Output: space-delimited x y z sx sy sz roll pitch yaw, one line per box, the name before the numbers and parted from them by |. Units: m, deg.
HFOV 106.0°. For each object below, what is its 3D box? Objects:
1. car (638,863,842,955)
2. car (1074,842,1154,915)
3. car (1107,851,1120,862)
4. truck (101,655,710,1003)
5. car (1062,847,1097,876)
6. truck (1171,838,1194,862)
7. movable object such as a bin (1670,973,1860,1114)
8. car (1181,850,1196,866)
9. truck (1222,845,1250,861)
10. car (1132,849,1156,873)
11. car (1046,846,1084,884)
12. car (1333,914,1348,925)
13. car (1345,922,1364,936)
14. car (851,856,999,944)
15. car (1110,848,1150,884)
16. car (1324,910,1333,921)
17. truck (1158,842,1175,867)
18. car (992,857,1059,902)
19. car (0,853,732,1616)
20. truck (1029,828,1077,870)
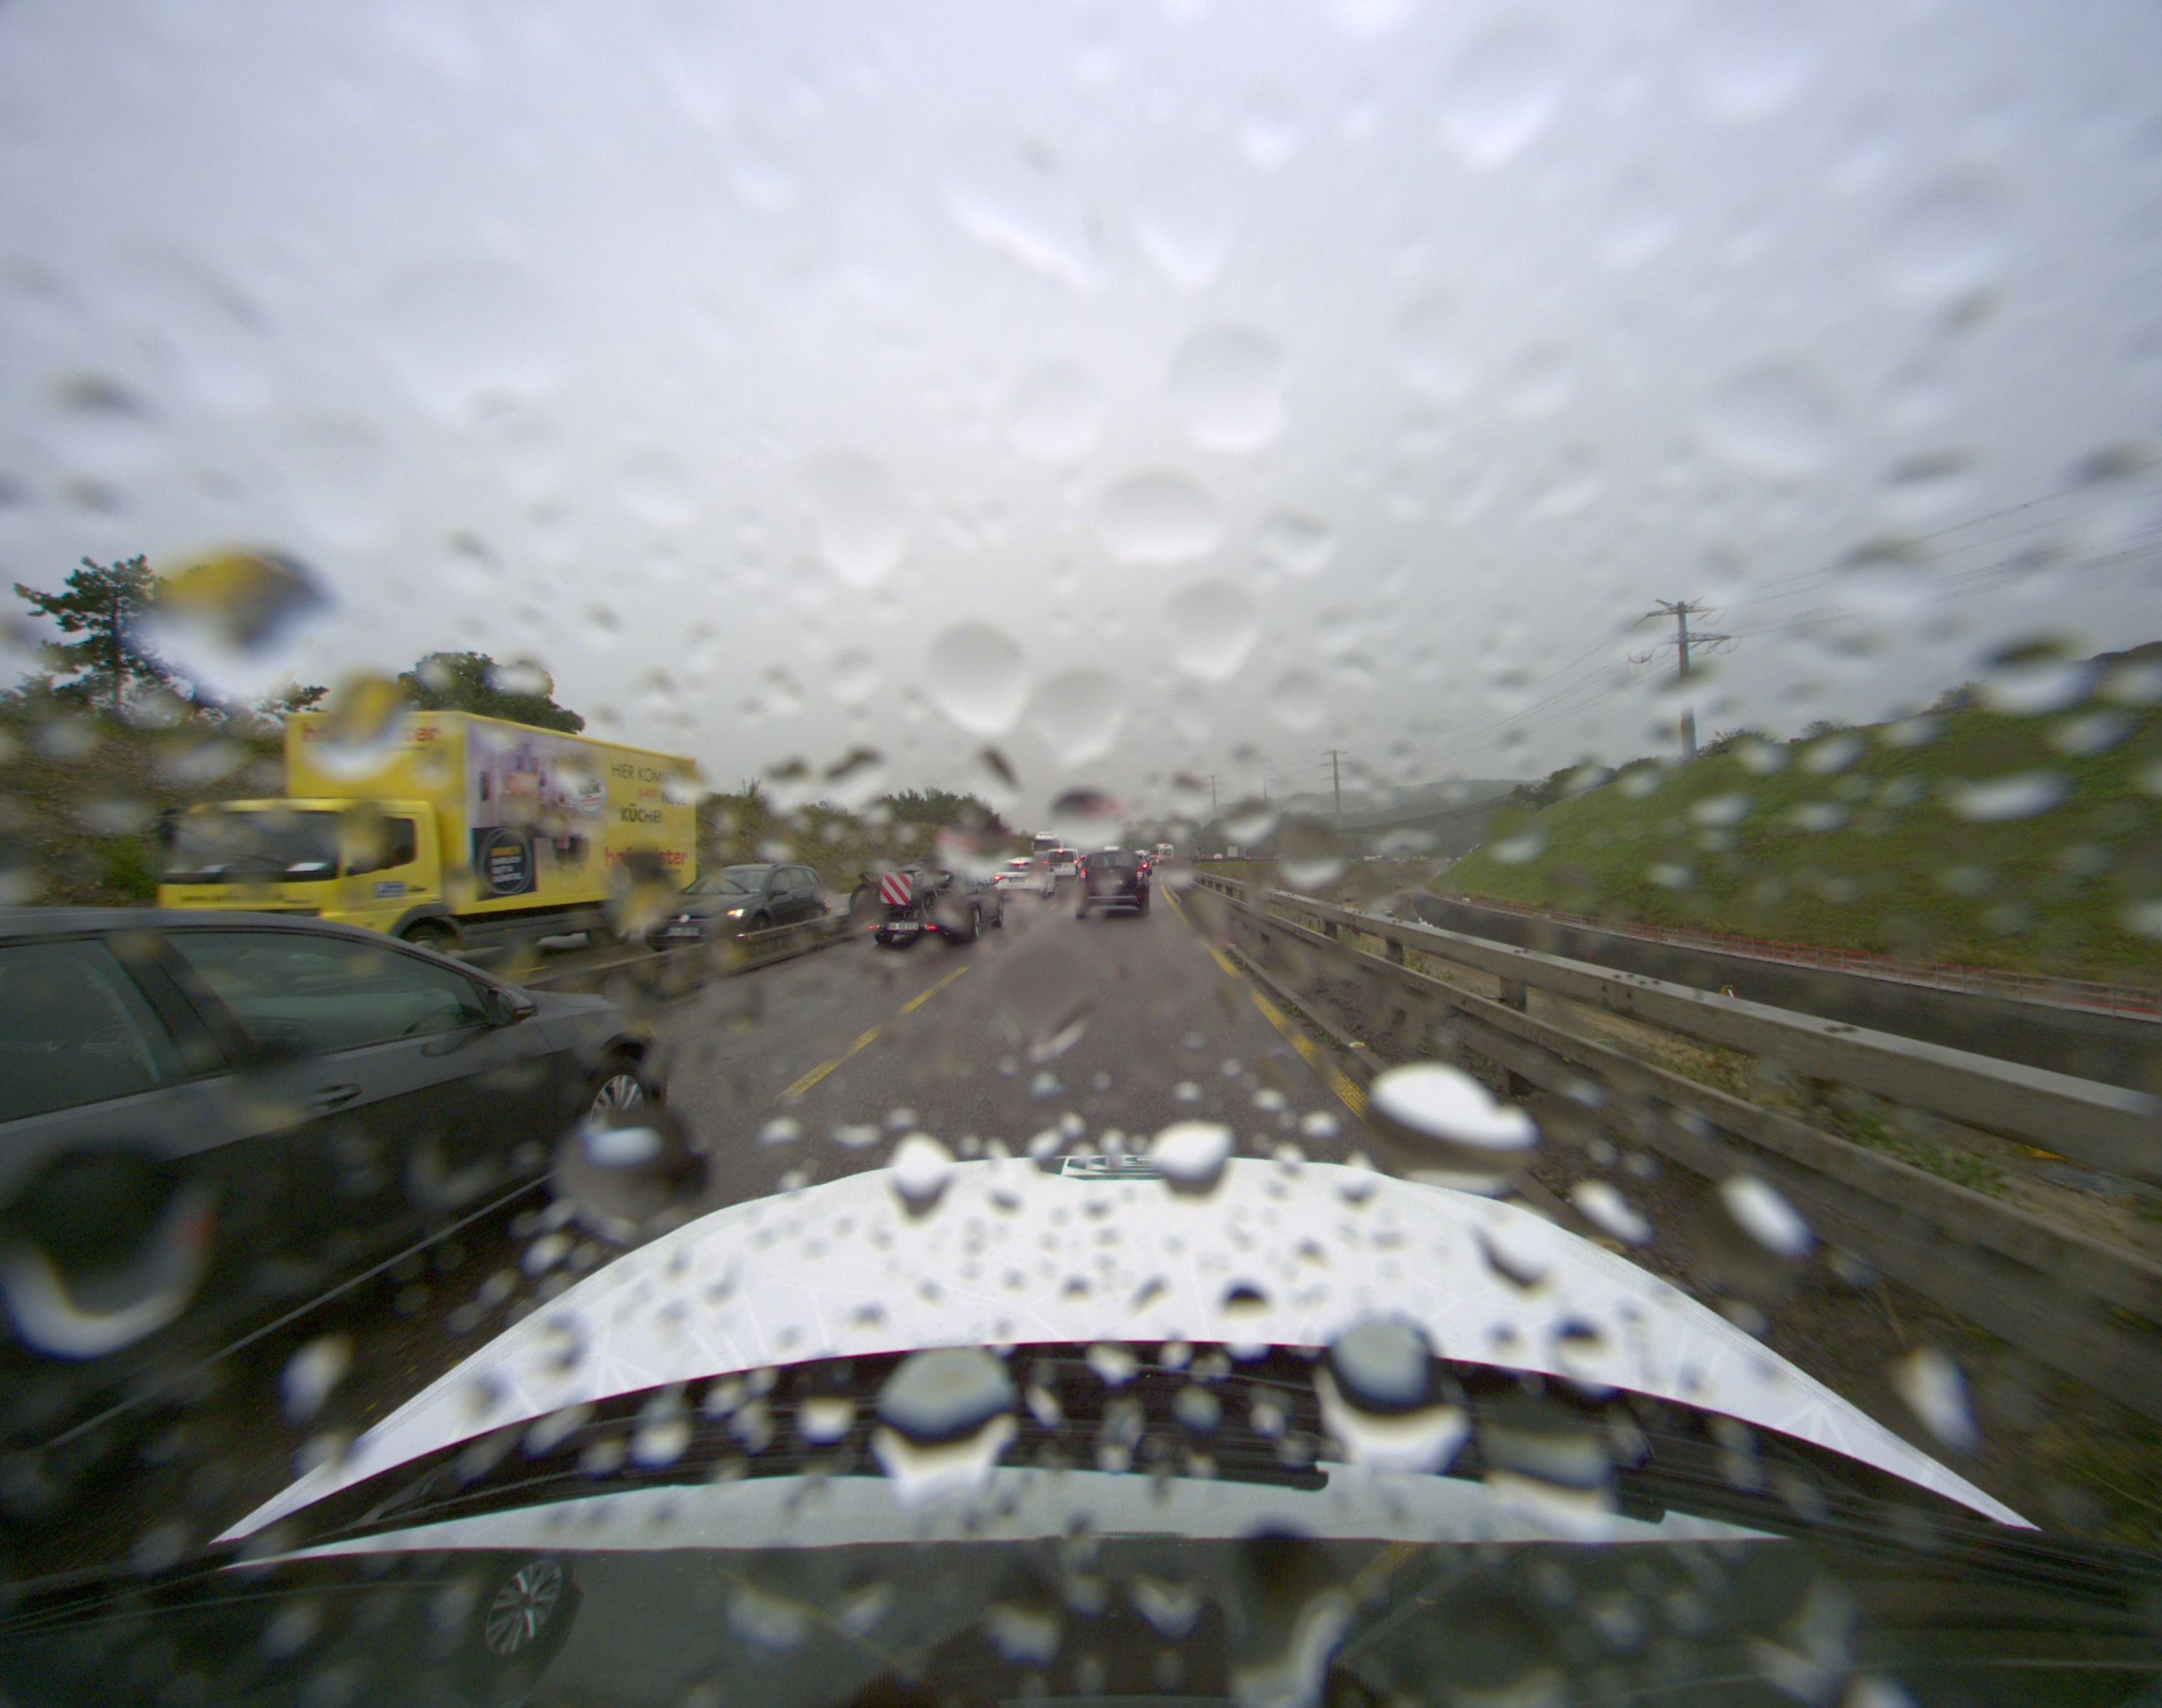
car | -6.028 0.891 14.991 1.860 1.406 4.118 0 0 3
car | 0.890 0.569 20.535 1.796 1.646 3.780 -1 0 4
car | 5.023 0.378 125.576 1.859 1.581 4.095 0 -2 4
truck | -9.805 -0.290 13.677 2.756 3.996 8.431 -1 0 4
car | -0.051 0.463 50.811 1.859 1.708 4.096 0 0 4
truck | 16.505 -0.640 131.441 3.180 3.761 8.534 0 0 10
movable object such as a bin | 23.715 6.470 28.516 3.202 3.867 4.124 1 1 1
car | 13.056 0.462 99.060 1.765 1.916 4.008 0 0 7
truck | 41.224 -0.323 215.699 4.677 4.150 15.763 0 0 21
car | 4.501 0.502 57.874 1.522 1.640 4.021 0 0 7
car | -0.784 0.526 41.531 1.653 1.880 4.023 0 0 3
car | 51.305 12.948 161.212 1.983 1.816 4.007 -1 0 6
car | 48.285 13.192 143.845 2.355 2.013 4.004 0 0 4
car | -2.887 0.812 15.969 1.820 1.476 3.782 -1 0 5
car | 2.409 0.564 40.199 1.860 1.708 4.003 0 0 3
car | 56.145 13.912 184.789 1.978 2.013 4.018 0 0 17
truck | 11.322 0.058 108.021 2.138 3.166 6.471 0 0 6
car | -1.913 0.839 29.255 1.860 1.460 4.552 0 0 3
car | -2.947 0.790 2.590 1.608 1.506 4.370 -3 0 2
truck | -2.712 -0.491 86.064 2.918 4.097 14.417 0 0 7
